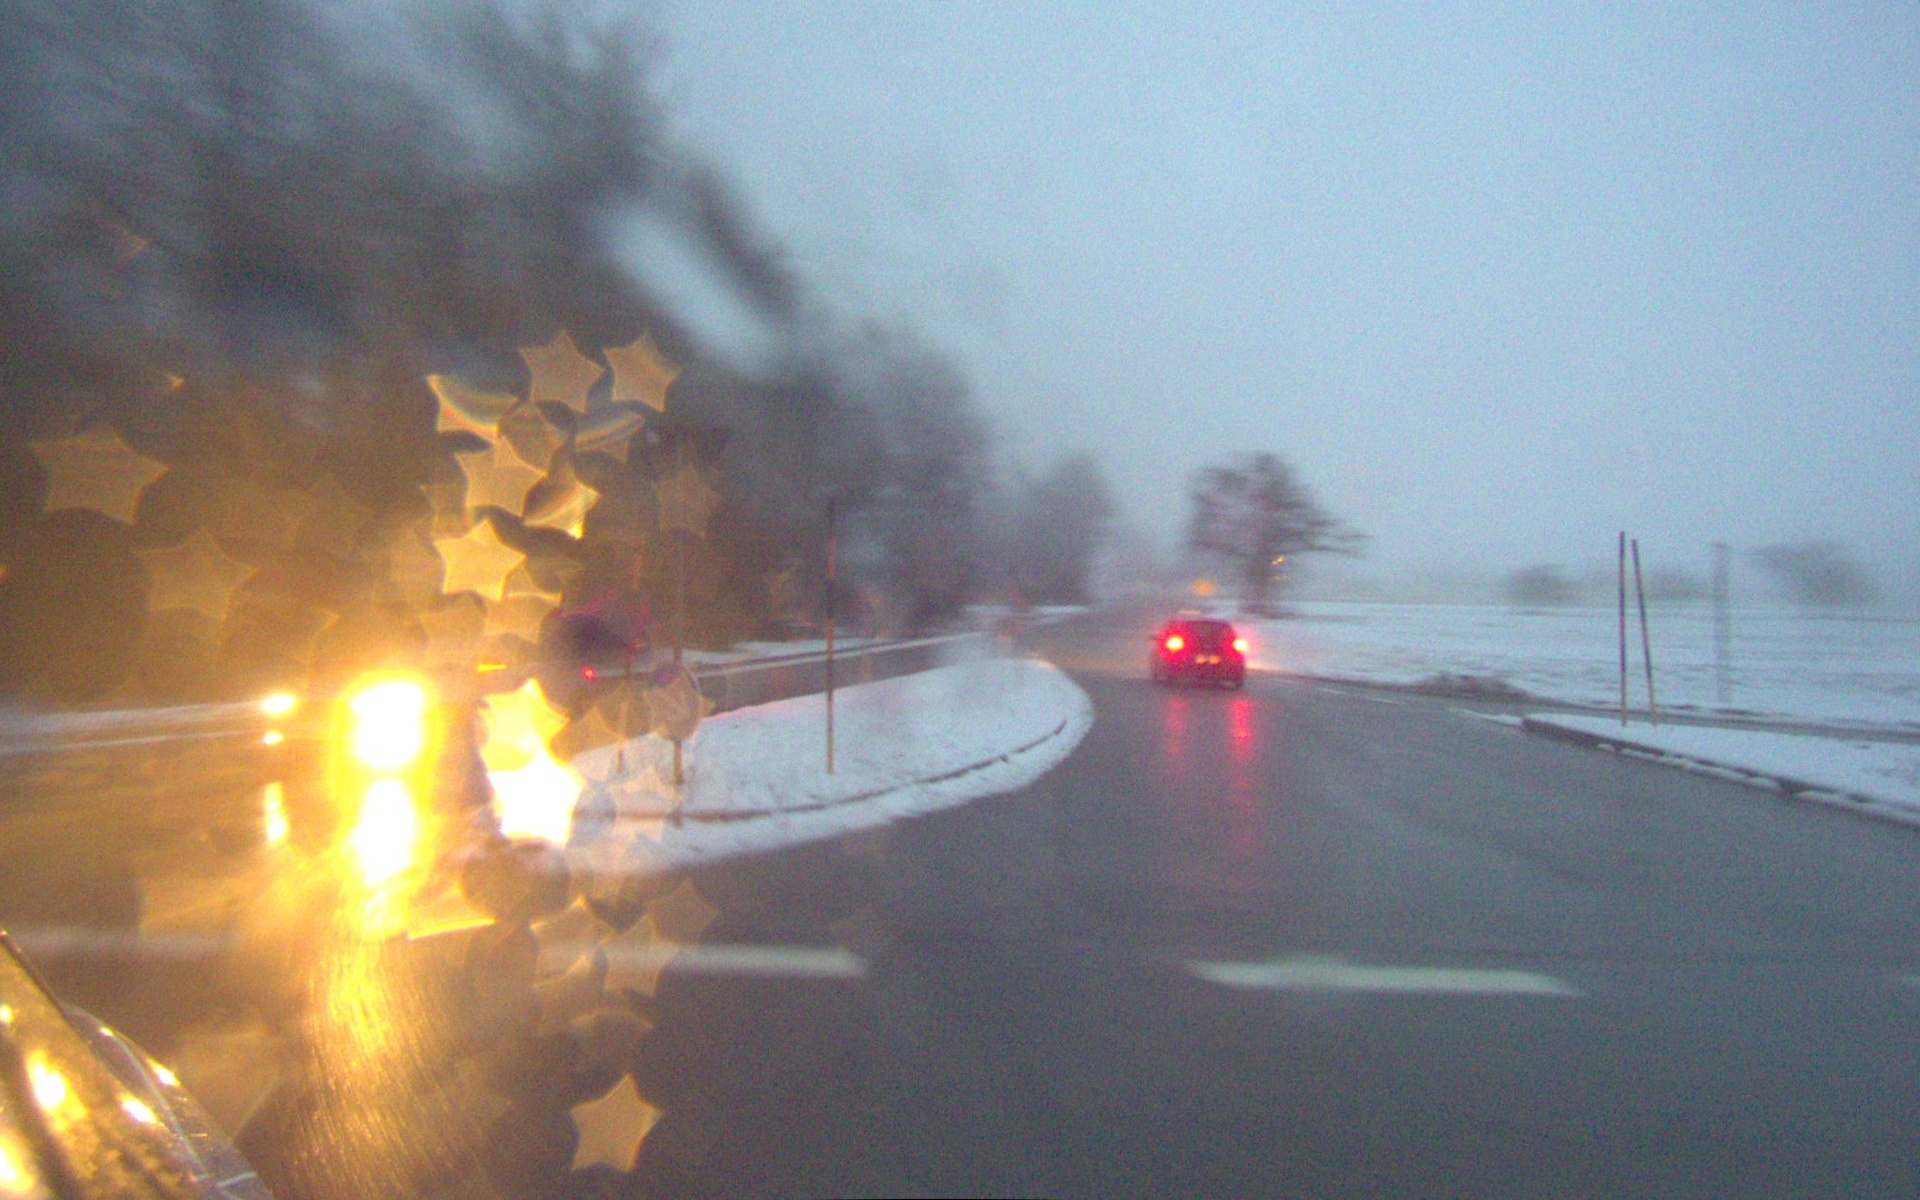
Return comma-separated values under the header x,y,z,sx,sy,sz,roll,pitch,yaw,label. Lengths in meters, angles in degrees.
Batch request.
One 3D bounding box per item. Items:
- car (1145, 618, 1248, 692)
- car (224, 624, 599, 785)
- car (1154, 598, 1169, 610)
x,y,z,sx,sy,sz,roll,pitch,yaw,label
5.003,1.126,21.795,1.556,1.463,3.410,-1,-1,3,car
-5.861,1.021,11.344,1.709,1.445,3.661,-1,-1,13,car
29.957,0.594,150.618,1.981,1.820,3.982,-1,0,14,car
